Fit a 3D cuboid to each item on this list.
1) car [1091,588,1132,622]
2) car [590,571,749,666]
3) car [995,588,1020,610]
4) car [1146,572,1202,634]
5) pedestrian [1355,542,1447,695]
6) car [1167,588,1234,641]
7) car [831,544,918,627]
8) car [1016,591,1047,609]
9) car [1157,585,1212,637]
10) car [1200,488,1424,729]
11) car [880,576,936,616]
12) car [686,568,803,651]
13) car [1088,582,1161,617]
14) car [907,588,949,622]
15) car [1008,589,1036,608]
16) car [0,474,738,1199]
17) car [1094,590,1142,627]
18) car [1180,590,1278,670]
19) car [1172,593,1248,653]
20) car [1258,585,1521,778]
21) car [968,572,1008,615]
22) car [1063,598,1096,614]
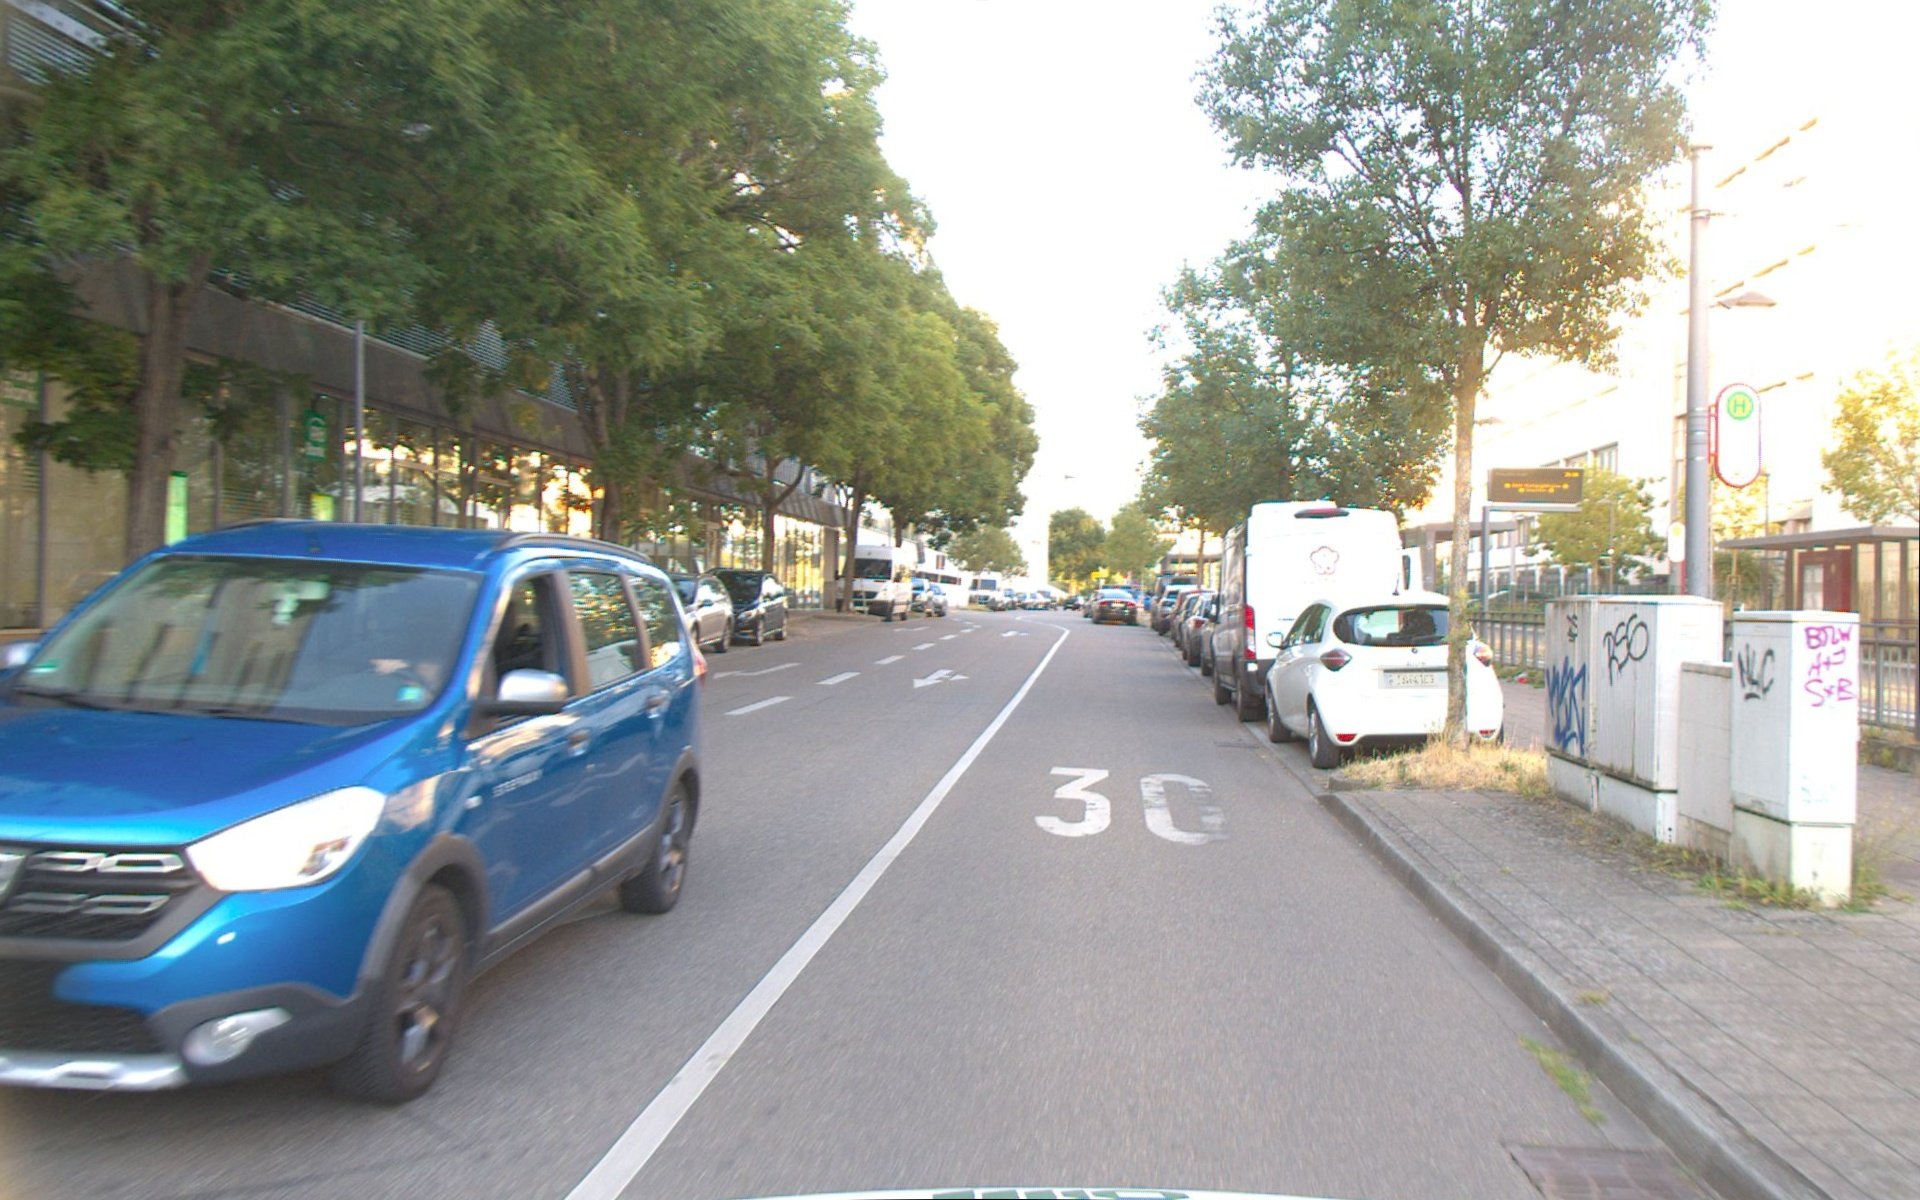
[{"bbox_3d":[7.036,0.230,77.132,1.641,1.477,4.189,1,0,2],"label":"car"},{"bbox_3d":[-5.248,0.294,30.480,1.668,1.487,4.629,4,1,5],"label":"car"},{"bbox_3d":[3.849,-0.097,132.524,1.719,1.682,3.951,3,1,4],"label":"car"},{"bbox_3d":[7.900,0.106,61.307,1.766,2.214,4.738,-1,0,4],"label":"car"},{"bbox_3d":[6.087,0.244,22.826,0.970,2.049,0.796,1,0,-40],"label":"pedestrian"},{"bbox_3d":[7.176,0.409,49.646,1.671,1.519,4.133,-1,0,4],"label":"car"},{"bbox_3d":[-2.931,-0.508,58.498,2.056,2.710,6.955,1,0,5],"label":"car"},{"bbox_3d":[6.370,0.020,146.158,1.686,1.482,4.697,3,1,15],"label":"car"},{"bbox_3d":[7.388,0.347,54.719,1.671,1.608,4.482,-1,0,6],"label":"car"},{"bbox_3d":[4.447,0.093,21.764,2.008,2.703,5.437,-2,0,3],"label":"car"},{"bbox_3d":[-2.144,-0.173,69.400,1.805,1.599,4.270,1,0,5],"label":"car"},{"bbox_3d":[-4.670,0.173,36.441,1.556,1.595,4.474,4,1,5],"label":"car"},{"bbox_3d":[10.860,-0.005,109.030,4.537,2.071,1.854,2,1,-29],"label":"car"},{"bbox_3d":[-1.421,0.193,74.892,1.679,1.477,4.399,1,0,1],"label":"car"},{"bbox_3d":[5.306,-0.158,140.605,1.686,1.482,4.275,3,1,11],"label":"car"},{"bbox_3d":[-2.165,0.546,6.040,1.711,1.707,4.276,2,0,5],"label":"car"},{"bbox_3d":[6.769,0.334,71.235,1.750,1.477,4.517,1,0,2],"label":"car"},{"bbox_3d":[5.666,0.593,35.267,1.758,1.522,4.784,-2,0,6],"label":"car"},{"bbox_3d":[6.521,0.566,43.449,1.671,1.477,4.002,-1,0,4],"label":"car"},{"bbox_3d":[4.069,0.698,16.284,1.711,1.611,4.015,-2,0,3],"label":"car"},{"bbox_3d":[1.936,-0.457,111.256,1.917,2.662,6.897,3,1,6],"label":"car"},{"bbox_3d":[11.660,0.571,160.784,1.904,1.406,4.399,3,1,21],"label":"car"}]
